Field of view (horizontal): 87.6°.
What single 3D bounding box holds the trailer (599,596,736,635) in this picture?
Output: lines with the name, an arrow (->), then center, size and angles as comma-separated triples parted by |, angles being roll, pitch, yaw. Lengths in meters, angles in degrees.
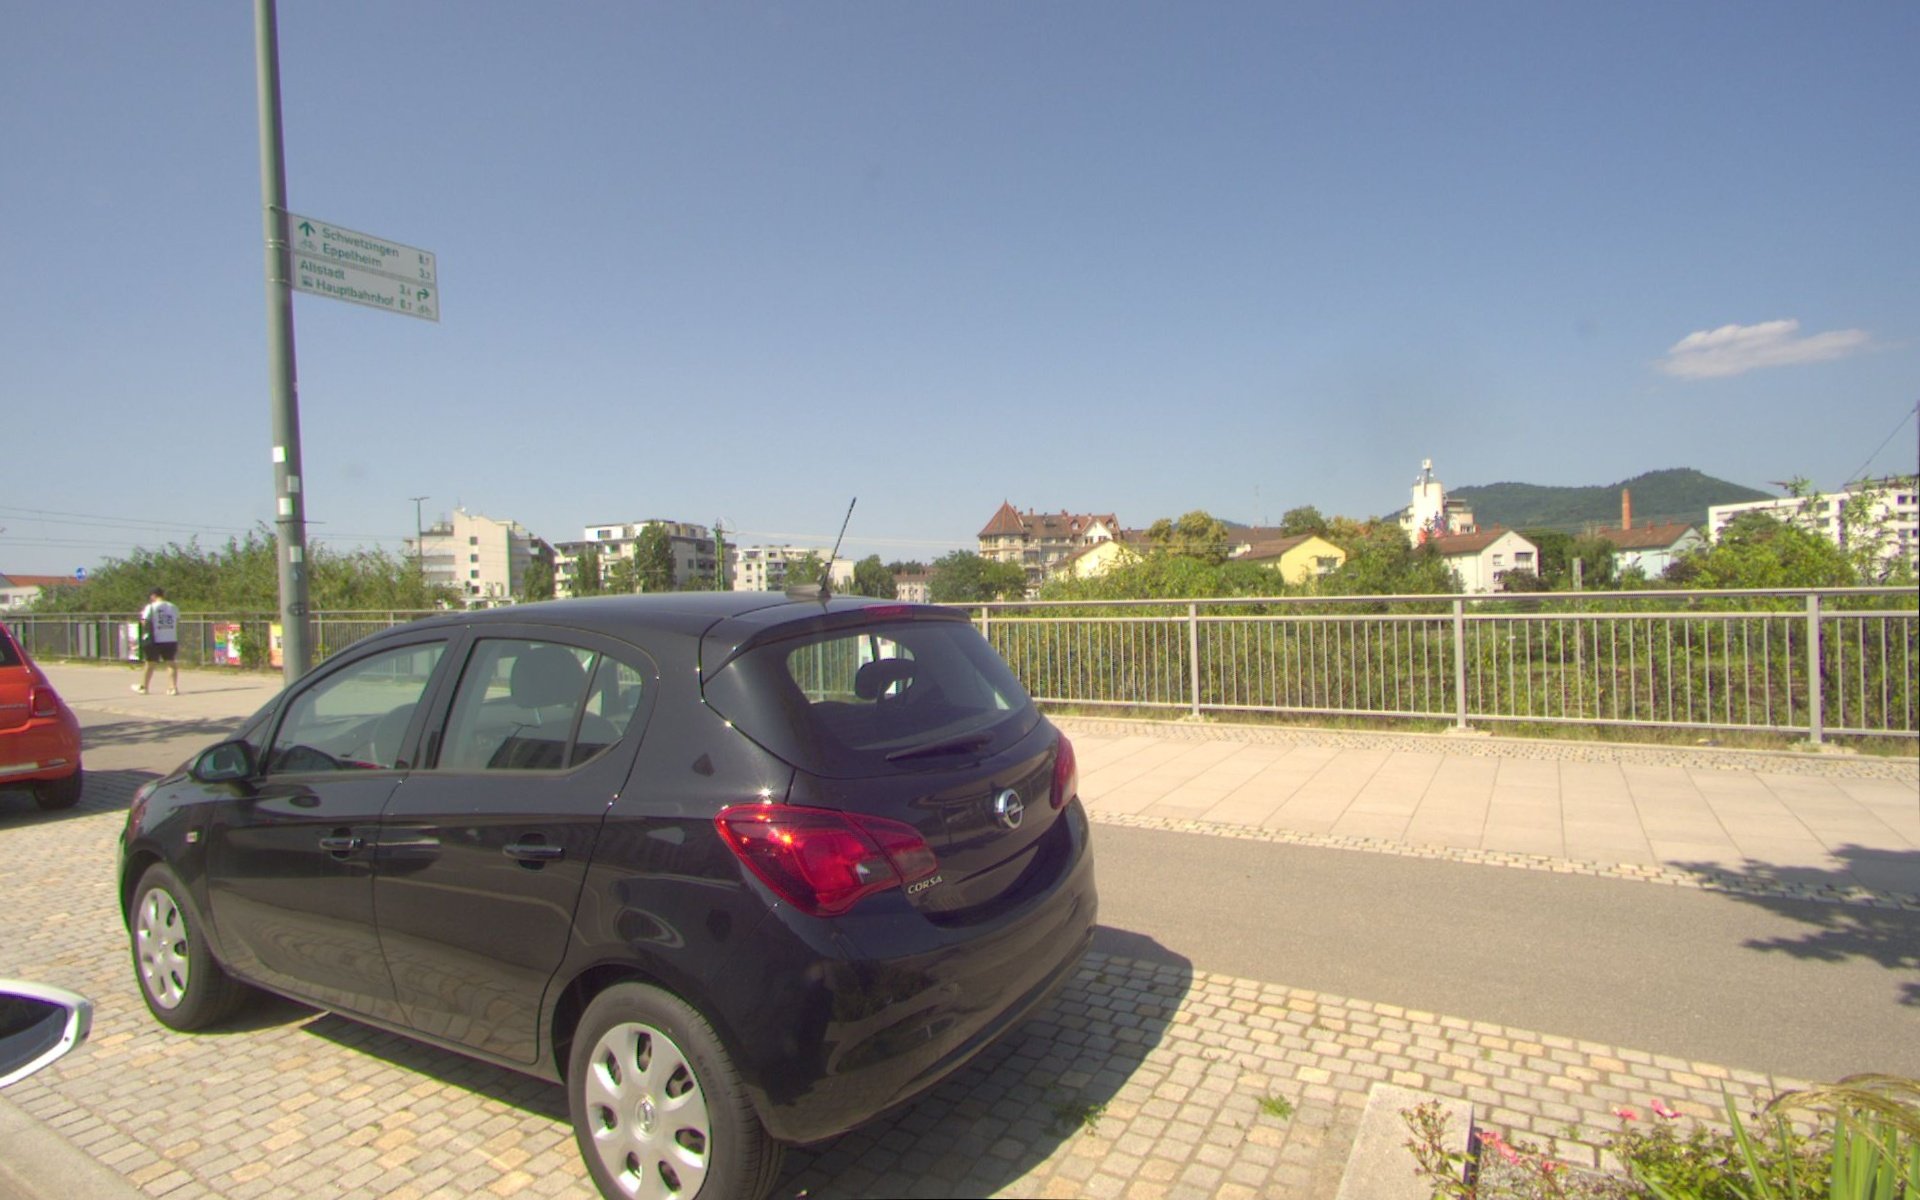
trailer -> -27.149, 1.632, 94.666 | 3.674, 3.243, 17.244 | -1, -3, 17

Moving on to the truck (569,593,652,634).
truck -> -29.838, 1.258, 85.781 | 3.672, 3.243, 6.485 | -1, -2, 17

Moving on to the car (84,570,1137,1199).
car -> -1.331, 0.740, 3.489 | 3.495, 1.577, 1.577 | -1, 2, 32

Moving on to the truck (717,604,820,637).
truck -> -21.464, 2.479, 114.395 | 3.674, 3.243, 17.876 | -1, -3, 17

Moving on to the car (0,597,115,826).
car -> -8.382, 0.778, 7.755 | 3.859, 1.561, 1.666 | 0, 2, 32

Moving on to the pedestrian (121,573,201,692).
pedestrian -> -12.944, 0.530, 16.224 | 0.872, 1.853, 0.757 | -1, -2, 32
